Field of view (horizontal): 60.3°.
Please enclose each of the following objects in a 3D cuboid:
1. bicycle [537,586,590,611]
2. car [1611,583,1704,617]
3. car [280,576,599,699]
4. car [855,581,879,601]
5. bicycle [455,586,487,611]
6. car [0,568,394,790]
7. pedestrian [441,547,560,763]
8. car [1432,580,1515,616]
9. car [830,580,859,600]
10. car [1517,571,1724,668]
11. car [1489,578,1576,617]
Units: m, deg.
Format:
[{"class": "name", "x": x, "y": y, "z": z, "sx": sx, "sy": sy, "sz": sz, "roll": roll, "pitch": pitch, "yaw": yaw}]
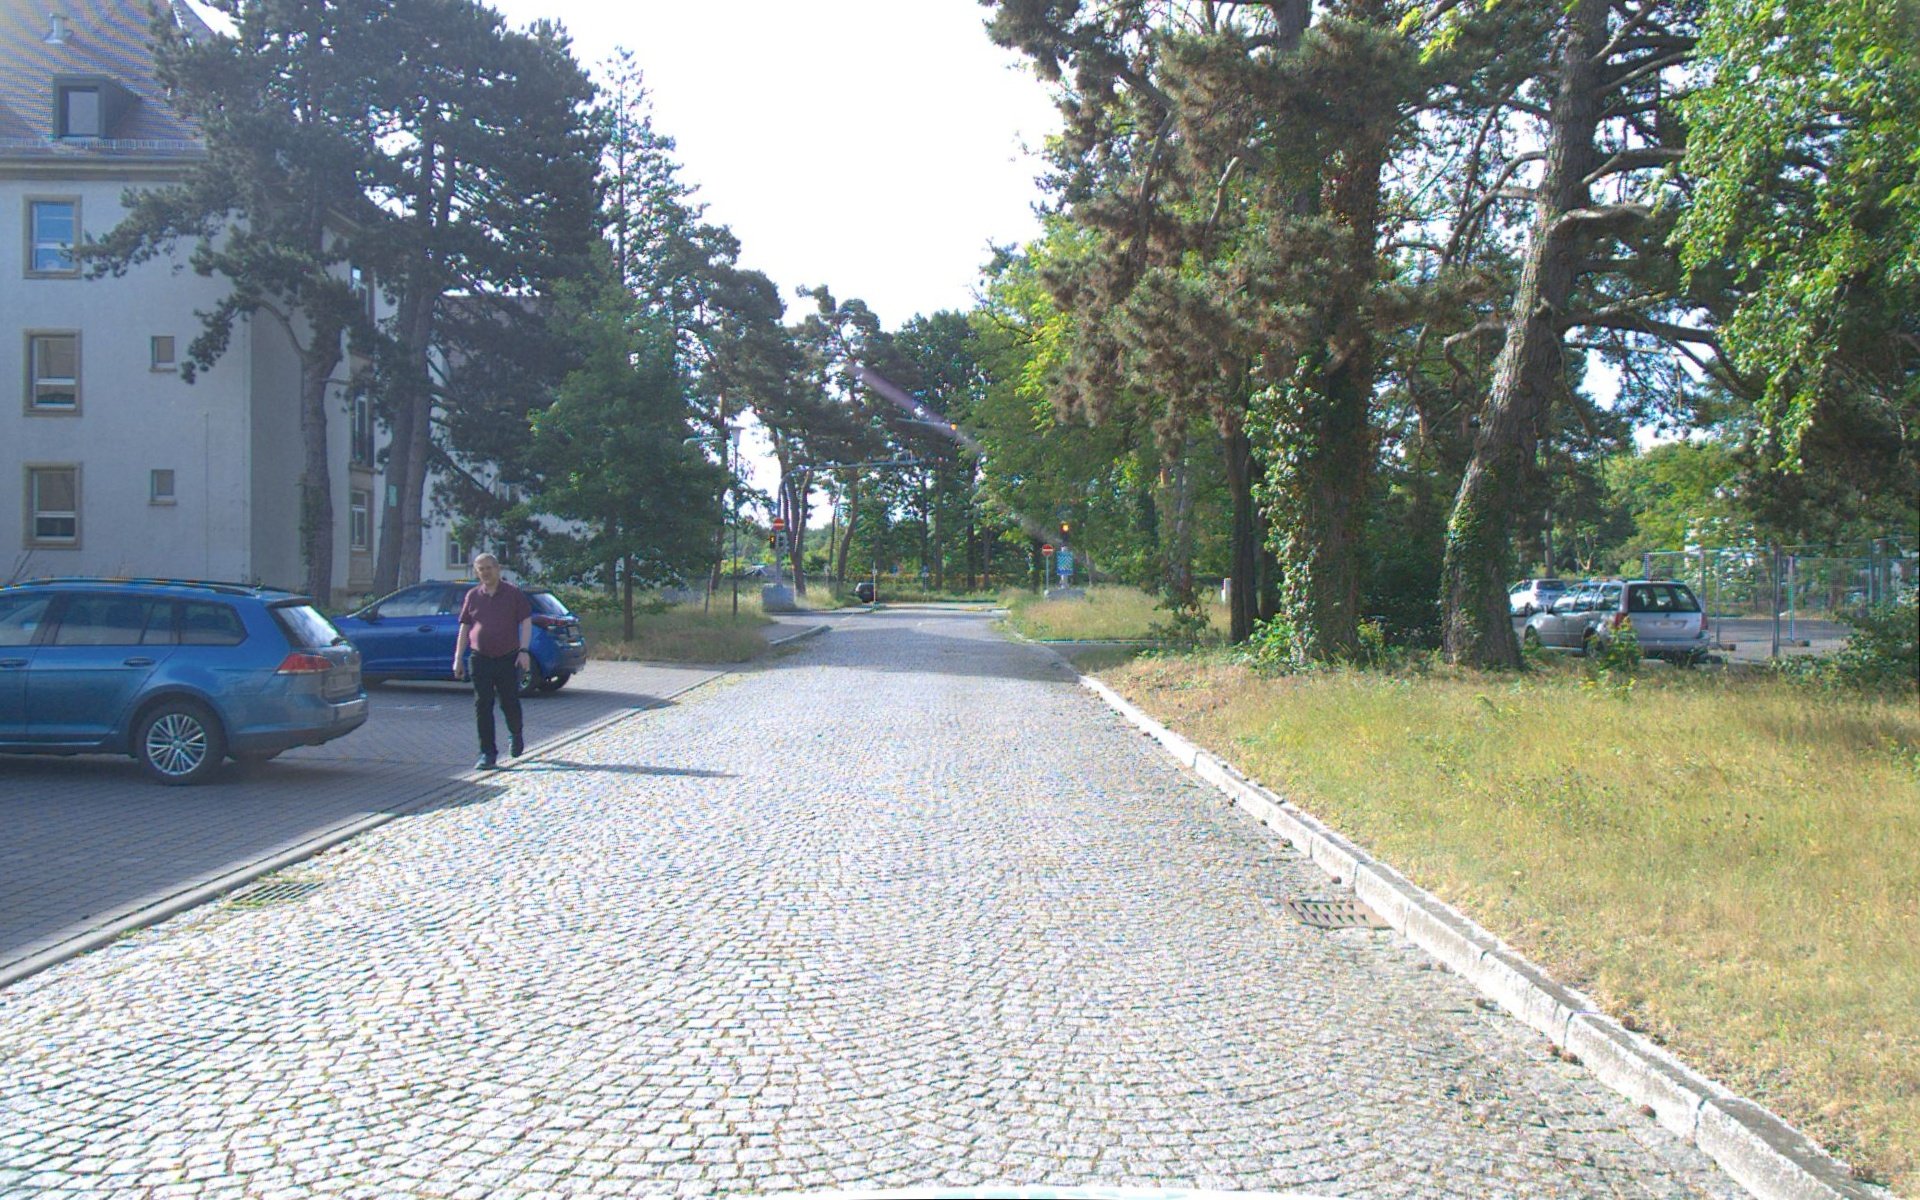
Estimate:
[{"class": "bicycle", "x": -17.026, "y": -0.072, "z": 71.086, "sx": 2.075, "sy": 1.065, "sz": 0.828, "roll": 0, "pitch": 0, "yaw": -4}, {"class": "car", "x": 27.956, "y": -0.027, "z": 66.460, "sx": 1.697, "sy": 1.335, "sz": 4.328, "roll": 0, "pitch": 1, "yaw": -4}, {"class": "car", "x": -7.013, "y": 0.485, "z": 22.547, "sx": 3.757, "sy": 1.489, "sz": 1.720, "roll": 2, "pitch": 0, "yaw": 0}, {"class": "car", "x": -7.207, "y": -0.740, "z": 128.728, "sx": 1.808, "sy": 1.512, "sz": 3.998, "roll": 0, "pitch": 1, "yaw": -3}, {"class": "bicycle", "x": -21.318, "y": -0.061, "z": 72.123, "sx": 0.809, "sy": 1.065, "sz": 2.124, "roll": 0, "pitch": 1, "yaw": -1}, {"class": "car", "x": -6.815, "y": 0.552, "z": 12.930, "sx": 4.172, "sy": 1.489, "sz": 1.680, "roll": 2, "pitch": 2, "yaw": -3}, {"class": "pedestrian", "x": -3.990, "y": 0.455, "z": 14.436, "sx": 0.788, "sy": 1.802, "sz": 1.152, "roll": 0, "pitch": 0, "yaw": -5}, {"class": "car", "x": 20.245, "y": -0.103, "z": 65.432, "sx": 1.697, "sy": 1.335, "sz": 4.328, "roll": 0, "pitch": 1, "yaw": -4}, {"class": "car", "x": -9.301, "y": -0.817, "z": 133.431, "sx": 1.745, "sy": 1.516, "sz": 3.758, "roll": 0, "pitch": 1, "yaw": 6}, {"class": "car", "x": 10.916, "y": 0.280, "z": 27.641, "sx": 1.634, "sy": 1.493, "sz": 3.997, "roll": 0, "pitch": 1, "yaw": -4}, {"class": "car", "x": 22.713, "y": -0.130, "z": 65.783, "sx": 1.697, "sy": 1.502, "sz": 4.328, "roll": 0, "pitch": 1, "yaw": -4}]
